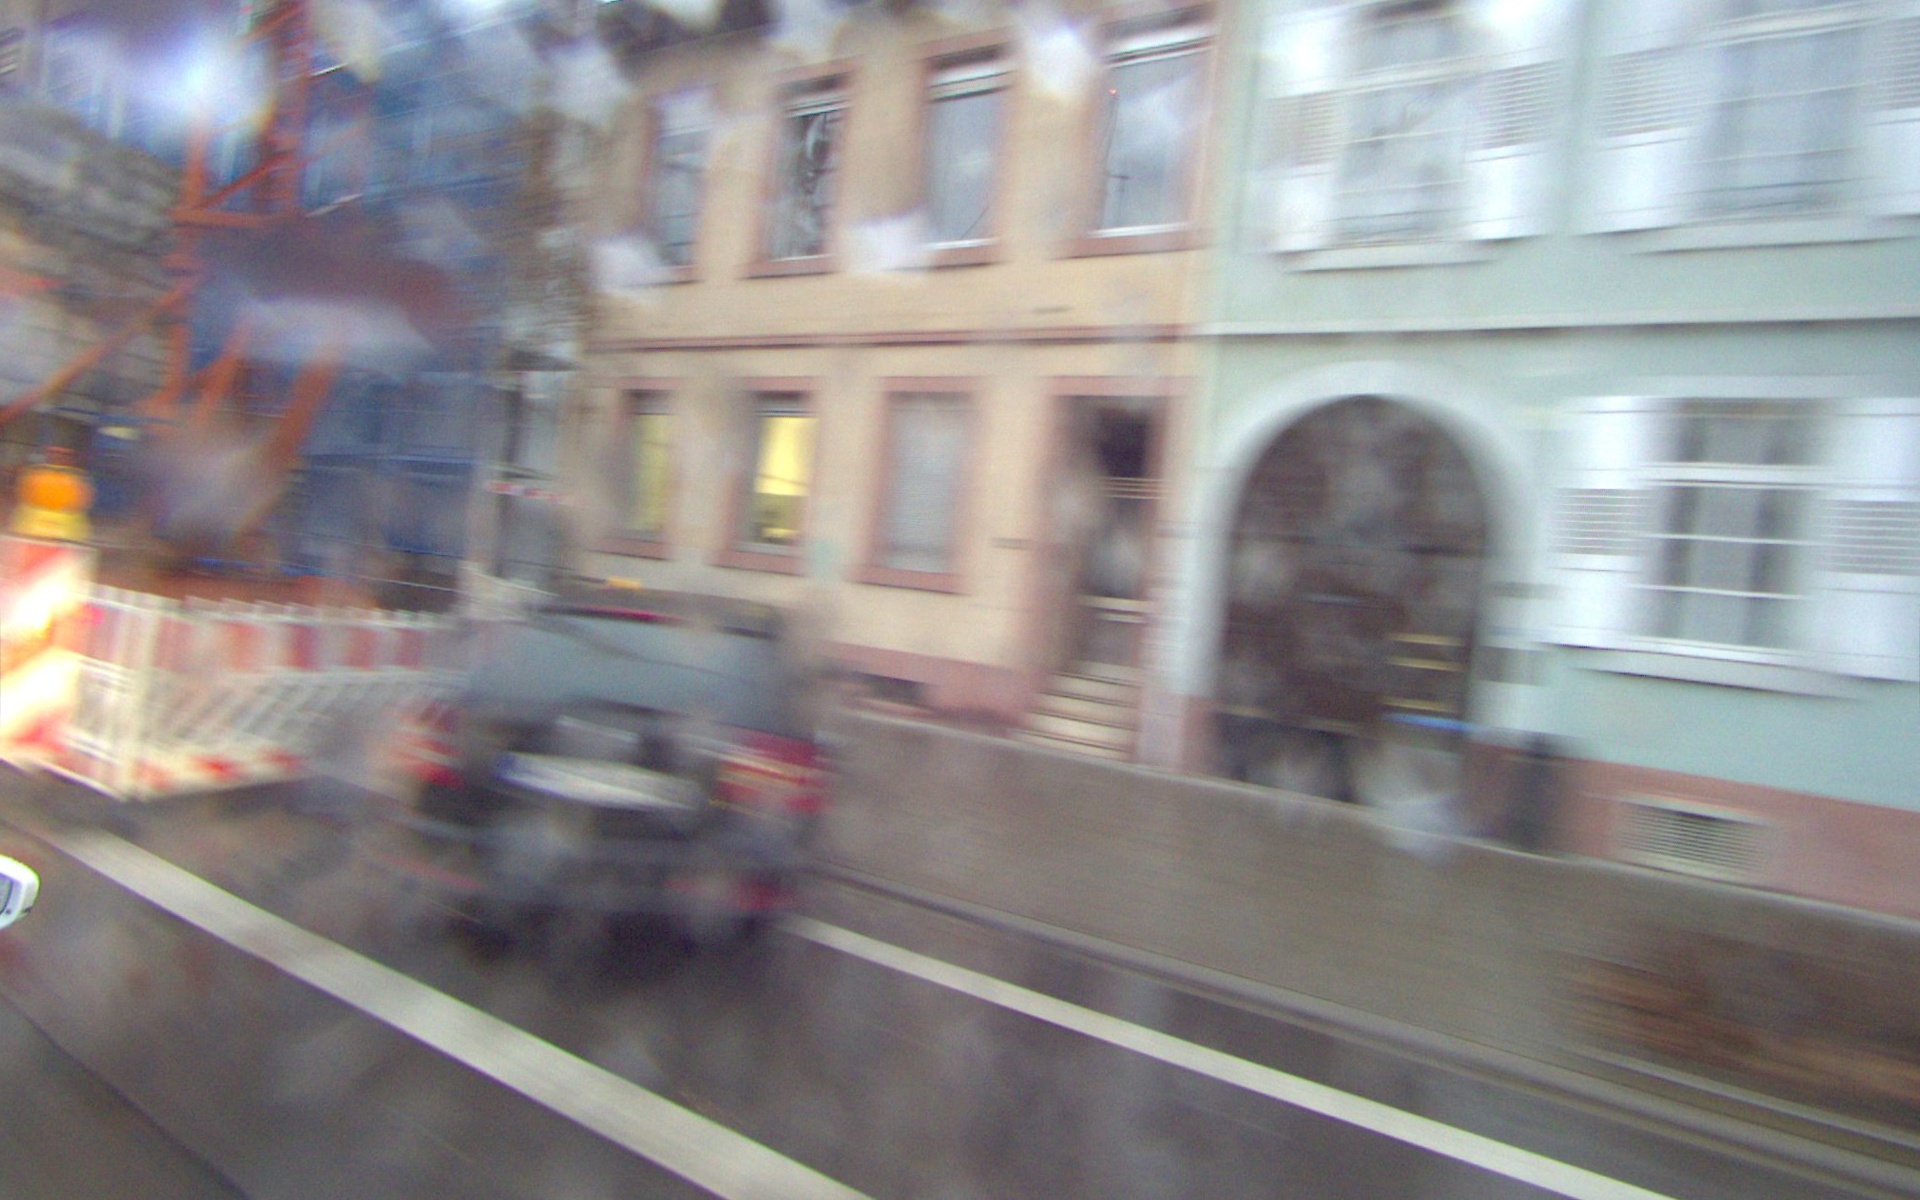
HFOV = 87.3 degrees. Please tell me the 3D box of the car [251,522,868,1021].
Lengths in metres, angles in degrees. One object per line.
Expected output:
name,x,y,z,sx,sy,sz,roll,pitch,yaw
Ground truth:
car,-1.591,0.647,5.622,1.874,1.536,4.093,8,-1,-4
